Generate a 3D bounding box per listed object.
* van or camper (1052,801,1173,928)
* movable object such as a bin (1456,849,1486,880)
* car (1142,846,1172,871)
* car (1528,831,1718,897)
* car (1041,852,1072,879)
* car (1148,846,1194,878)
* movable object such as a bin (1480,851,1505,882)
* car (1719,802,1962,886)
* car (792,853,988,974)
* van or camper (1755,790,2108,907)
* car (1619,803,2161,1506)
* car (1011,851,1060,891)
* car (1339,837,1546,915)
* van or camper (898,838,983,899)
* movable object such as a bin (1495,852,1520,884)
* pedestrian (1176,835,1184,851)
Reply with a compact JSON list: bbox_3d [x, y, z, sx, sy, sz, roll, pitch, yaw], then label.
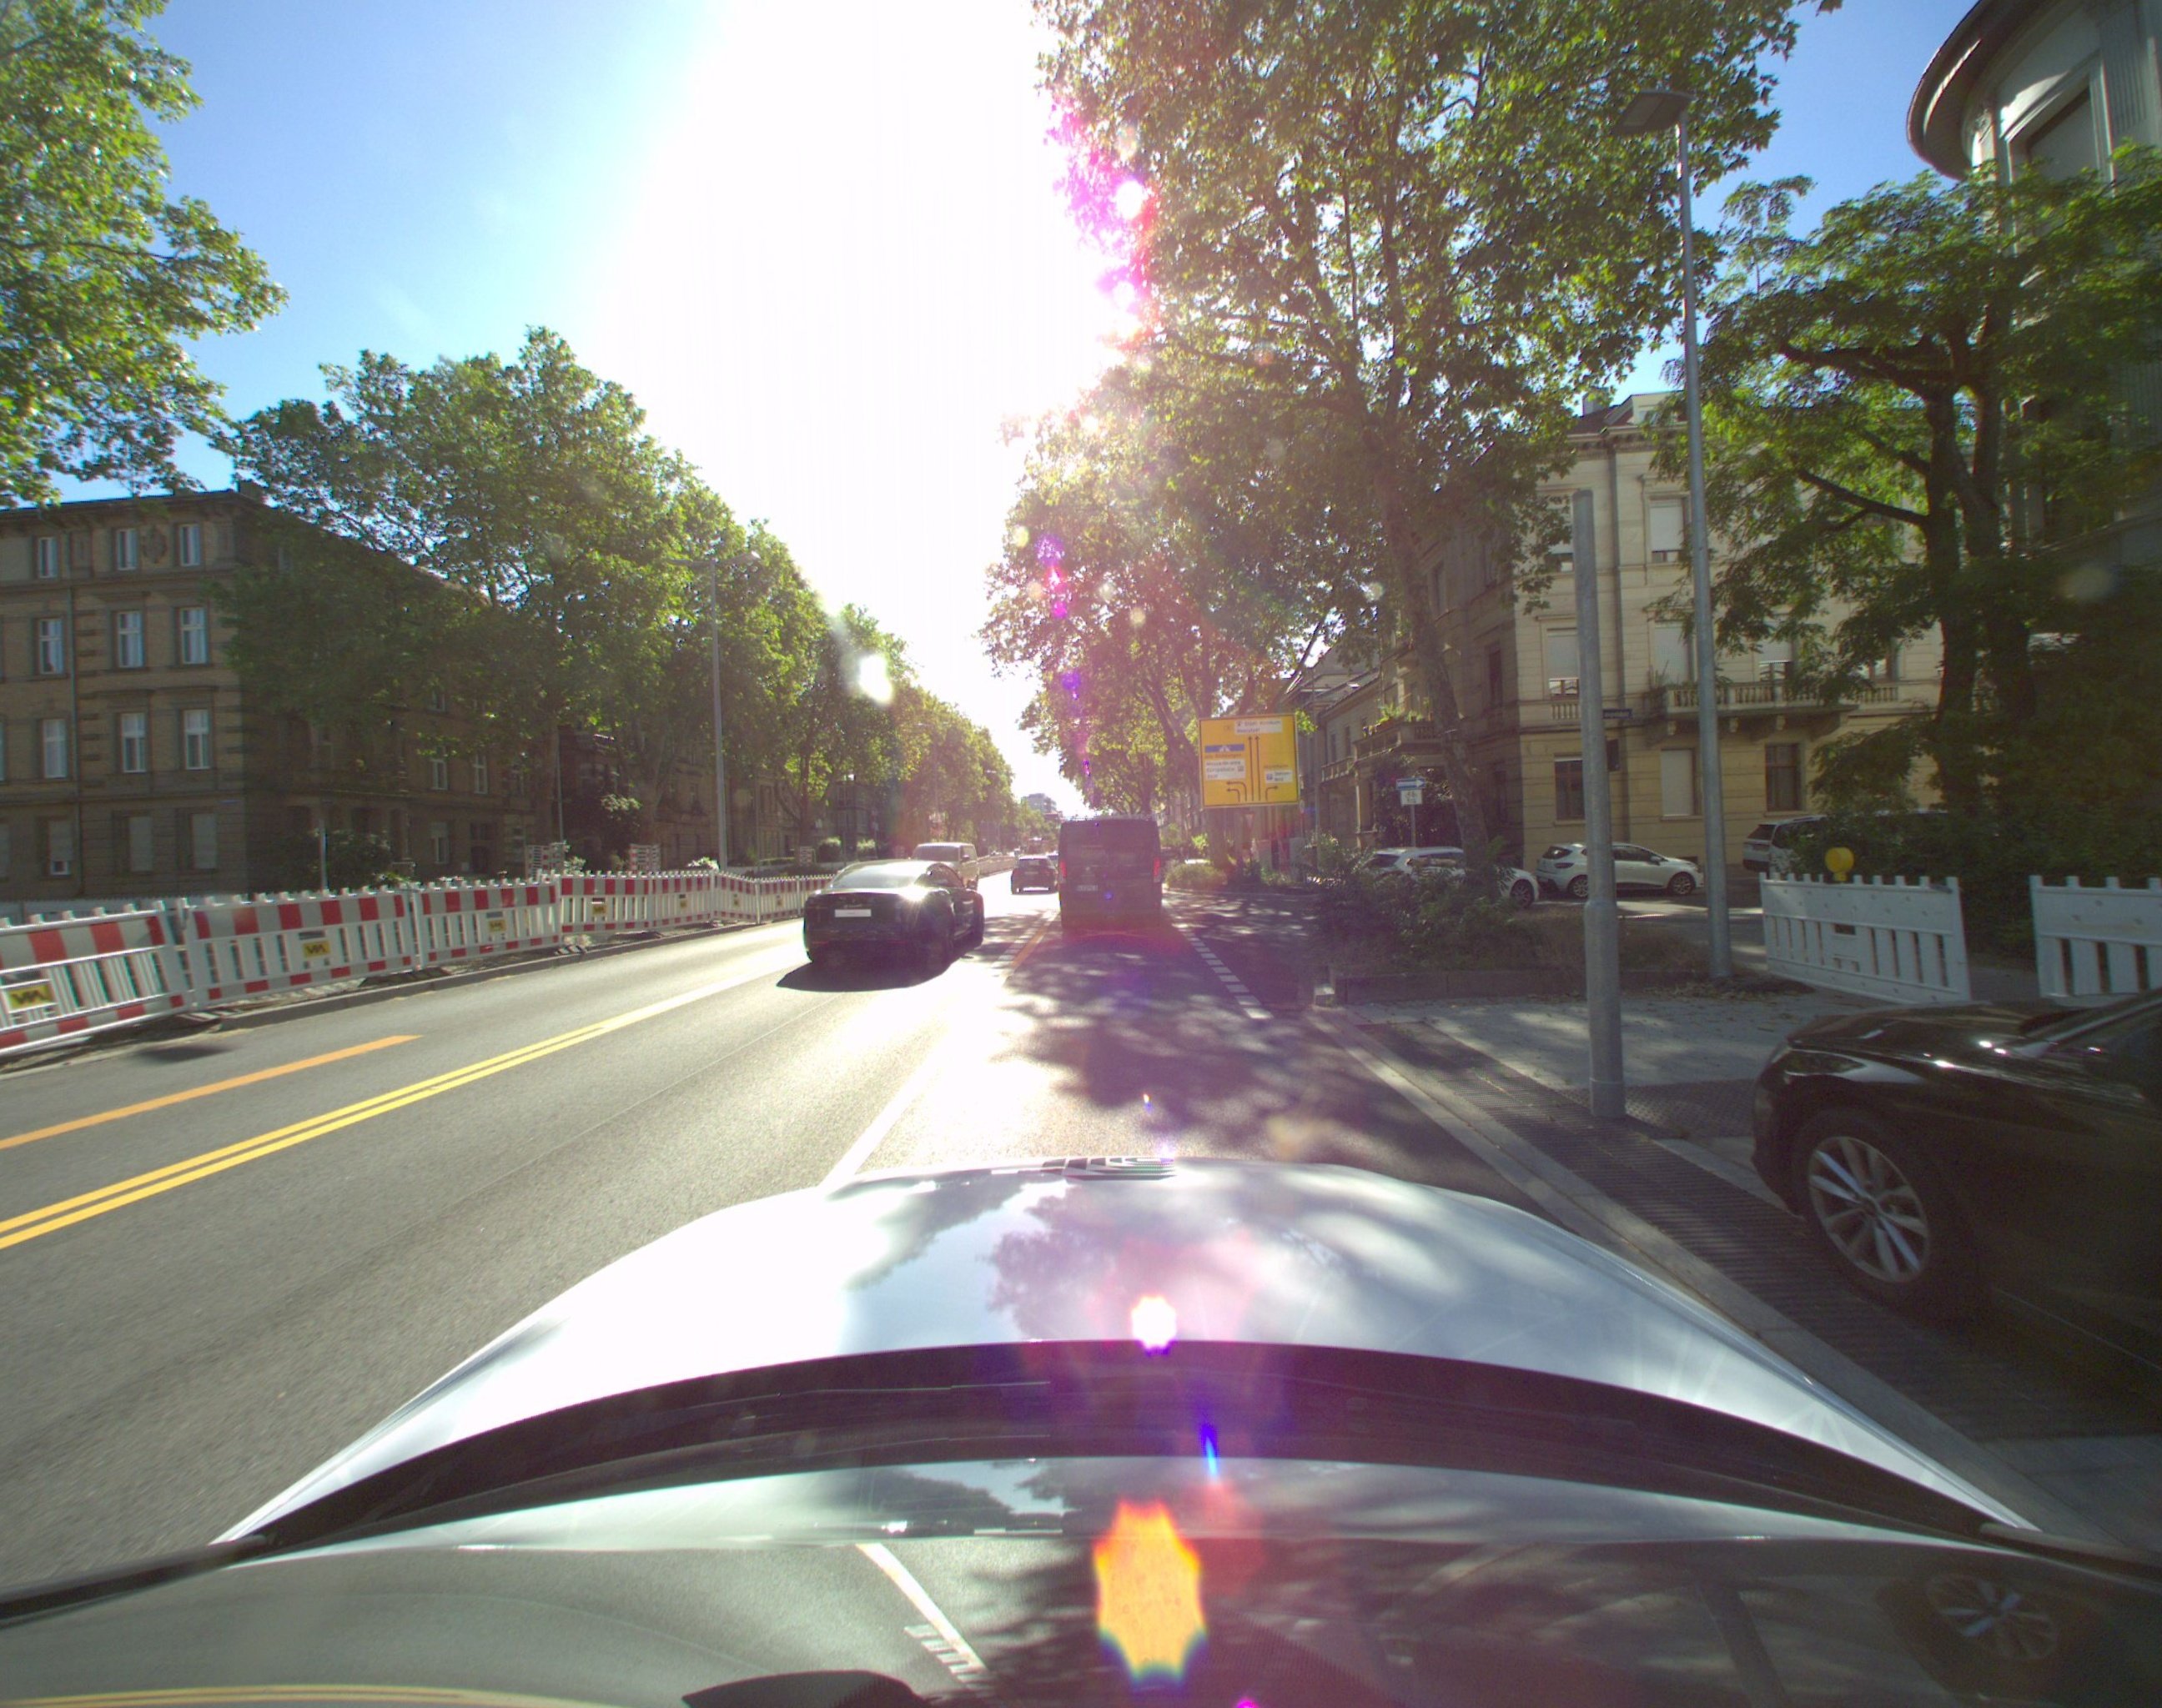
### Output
[{"bbox_3d":[0.608,0.193,17.750,2.238,2.346,4.537,-2,0,0],"label":"van or camper"},{"bbox_3d":[12.674,0.343,26.496,0.684,0.970,0.548,-3,0,4],"label":"movable object such as a bin"},{"bbox_3d":[5.093,0.286,54.928,1.765,1.568,4.004,-3,0,3],"label":"car"},{"bbox_3d":[14.555,0.237,22.046,3.913,1.561,1.875,-2,2,3],"label":"car"},{"bbox_3d":[-1.395,0.652,47.668,1.614,1.486,3.735,-1,0,1],"label":"car"},{"bbox_3d":[4.617,0.402,42.390,1.769,1.568,3.996,-1,0,-3],"label":"car"},{"bbox_3d":[13.089,0.398,25.900,0.517,0.970,0.548,-3,0,4],"label":"movable object such as a bin"},{"bbox_3d":[20.399,-0.253,22.054,4.507,2.013,2.031,-2,0,4],"label":"car"},{"bbox_3d":[-2.699,0.754,12.667,1.831,1.483,4.478,-2,0,2],"label":"car"},{"bbox_3d":[17.076,-0.104,16.571,4.994,2.013,1.901,-3,0,3],"label":"van or camper"},{"bbox_3d":[3.094,0.621,1.419,1.614,1.485,4.099,-4,0,2],"label":"car"},{"bbox_3d":[-1.760,0.639,32.575,1.614,1.486,3.735,-1,0,1],"label":"car"},{"bbox_3d":[8.064,0.475,18.201,4.058,1.486,1.827,-2,-2,-21],"label":"car"},{"bbox_3d":[-4.991,0.477,29.742,1.986,2.013,5.331,0,0,2],"label":"van or camper"},{"bbox_3d":[13.233,0.428,25.268,0.517,0.970,0.399,-3,0,4],"label":"movable object such as a bin"},{"bbox_3d":[14.253,-1.607,116.902,1.053,2.346,0.817,-1,0,4],"label":"pedestrian"}]
